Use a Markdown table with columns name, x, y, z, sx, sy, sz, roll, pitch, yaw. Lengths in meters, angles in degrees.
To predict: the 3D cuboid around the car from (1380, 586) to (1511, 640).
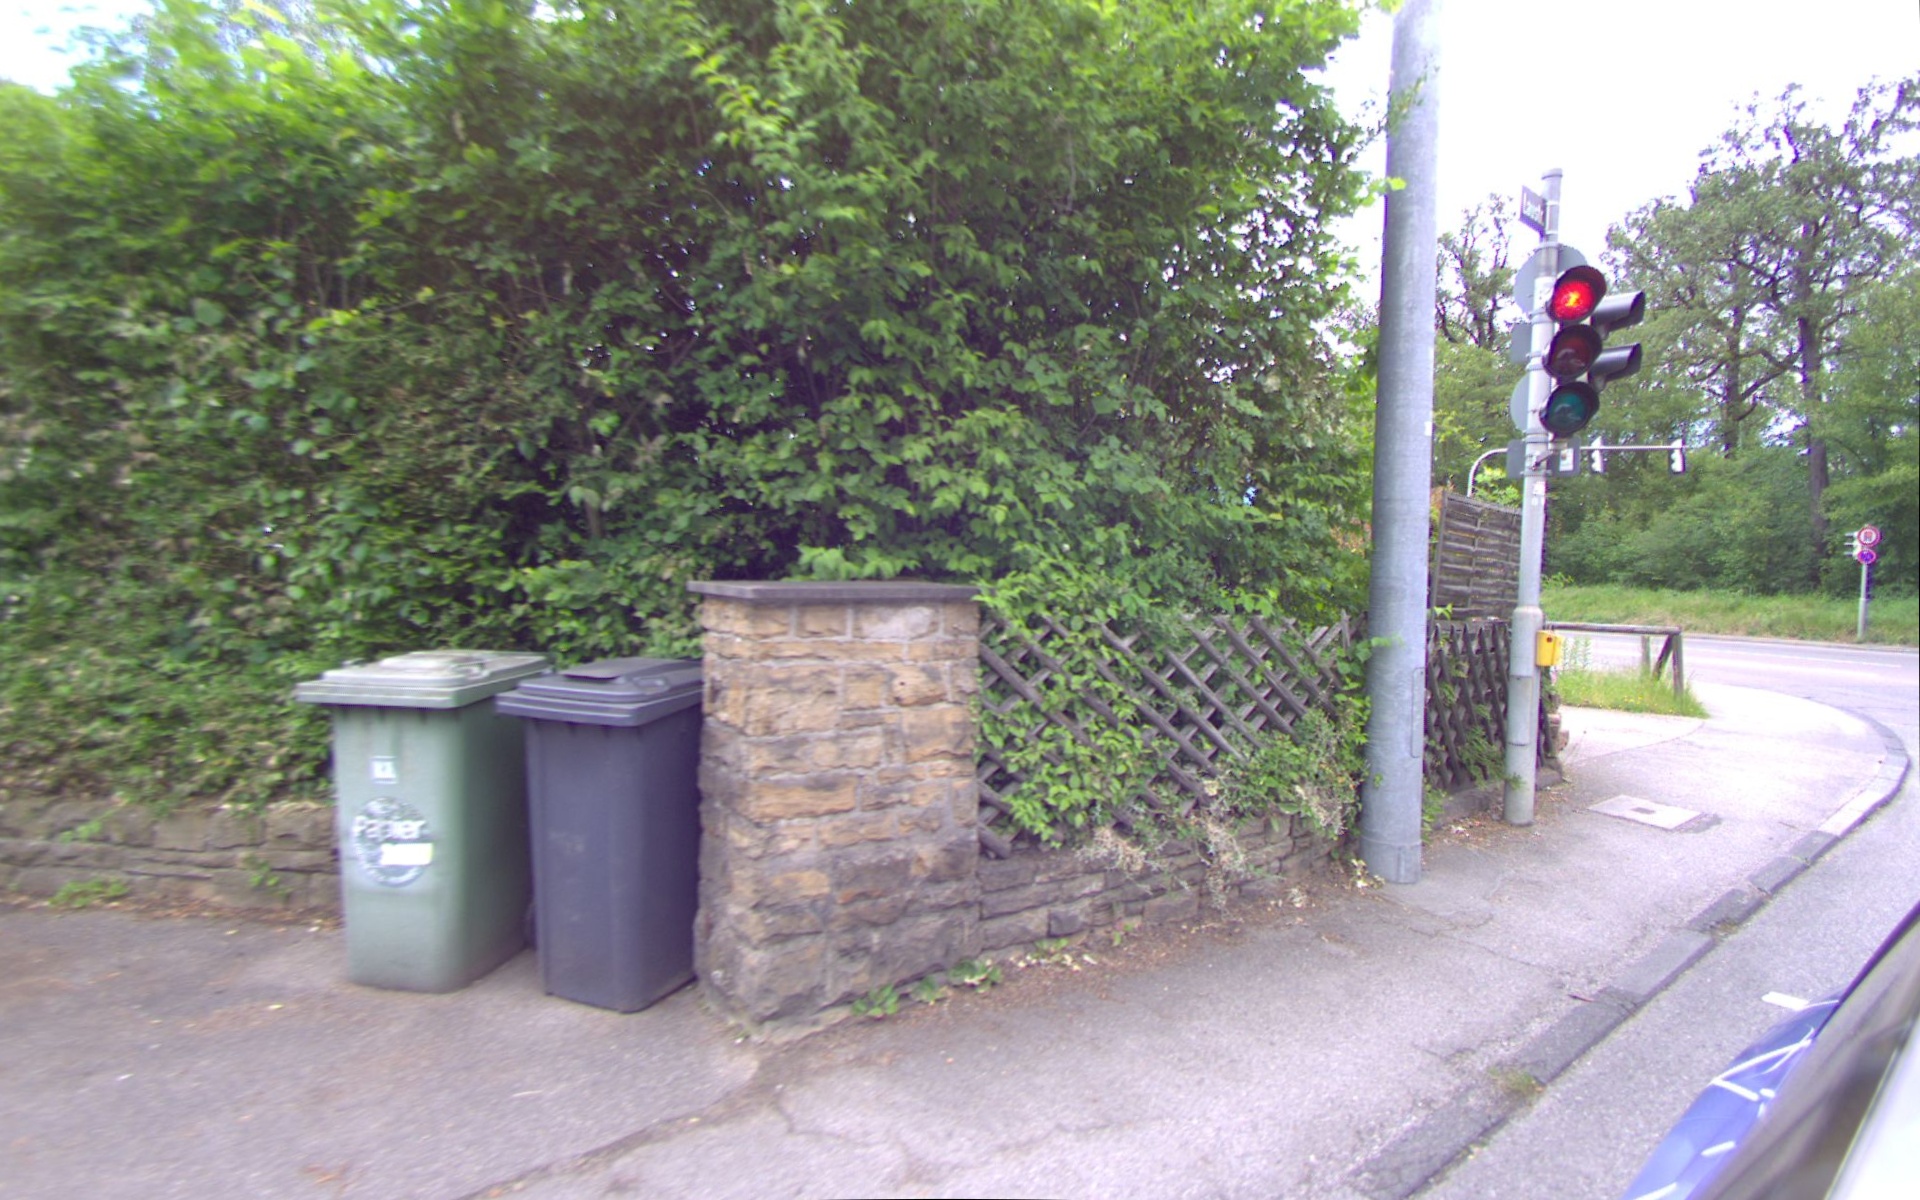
| name | x | y | z | sx | sy | sz | roll | pitch | yaw |
| --- | --- | --- | --- | --- | --- | --- | --- | --- | --- |
| car | 16.501 | 0.390 | 34.632 | 1.876 | 1.596 | 4.009 | -2 | 2 | -15 |

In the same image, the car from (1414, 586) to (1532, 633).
| name | x | y | z | sx | sy | sz | roll | pitch | yaw |
| --- | --- | --- | --- | --- | --- | --- | --- | --- | --- |
| car | 18.918 | 0.304 | 37.527 | 1.702 | 1.526 | 4.008 | -2 | 2 | -13 |

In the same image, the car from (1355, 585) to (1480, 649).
| name | x | y | z | sx | sy | sz | roll | pitch | yaw |
| --- | --- | --- | --- | --- | --- | --- | --- | --- | --- |
| car | 11.462 | 0.376 | 25.615 | 1.626 | 1.408 | 3.602 | 2 | 1 | 3 |

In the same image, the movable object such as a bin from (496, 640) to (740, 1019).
| name | x | y | z | sx | sy | sz | roll | pitch | yaw |
| --- | --- | --- | --- | --- | --- | --- | --- | --- | --- |
| movable object such as a bin | -1.113 | 0.694 | 3.333 | 0.534 | 1.058 | 0.505 | 4 | 2 | 23 |

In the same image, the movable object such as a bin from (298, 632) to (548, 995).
| name | x | y | z | sx | sy | sz | roll | pitch | yaw |
| --- | --- | --- | --- | --- | --- | --- | --- | --- | --- |
| movable object such as a bin | -1.802 | 0.671 | 3.435 | 0.532 | 1.075 | 0.507 | 2 | 1 | 12 |
